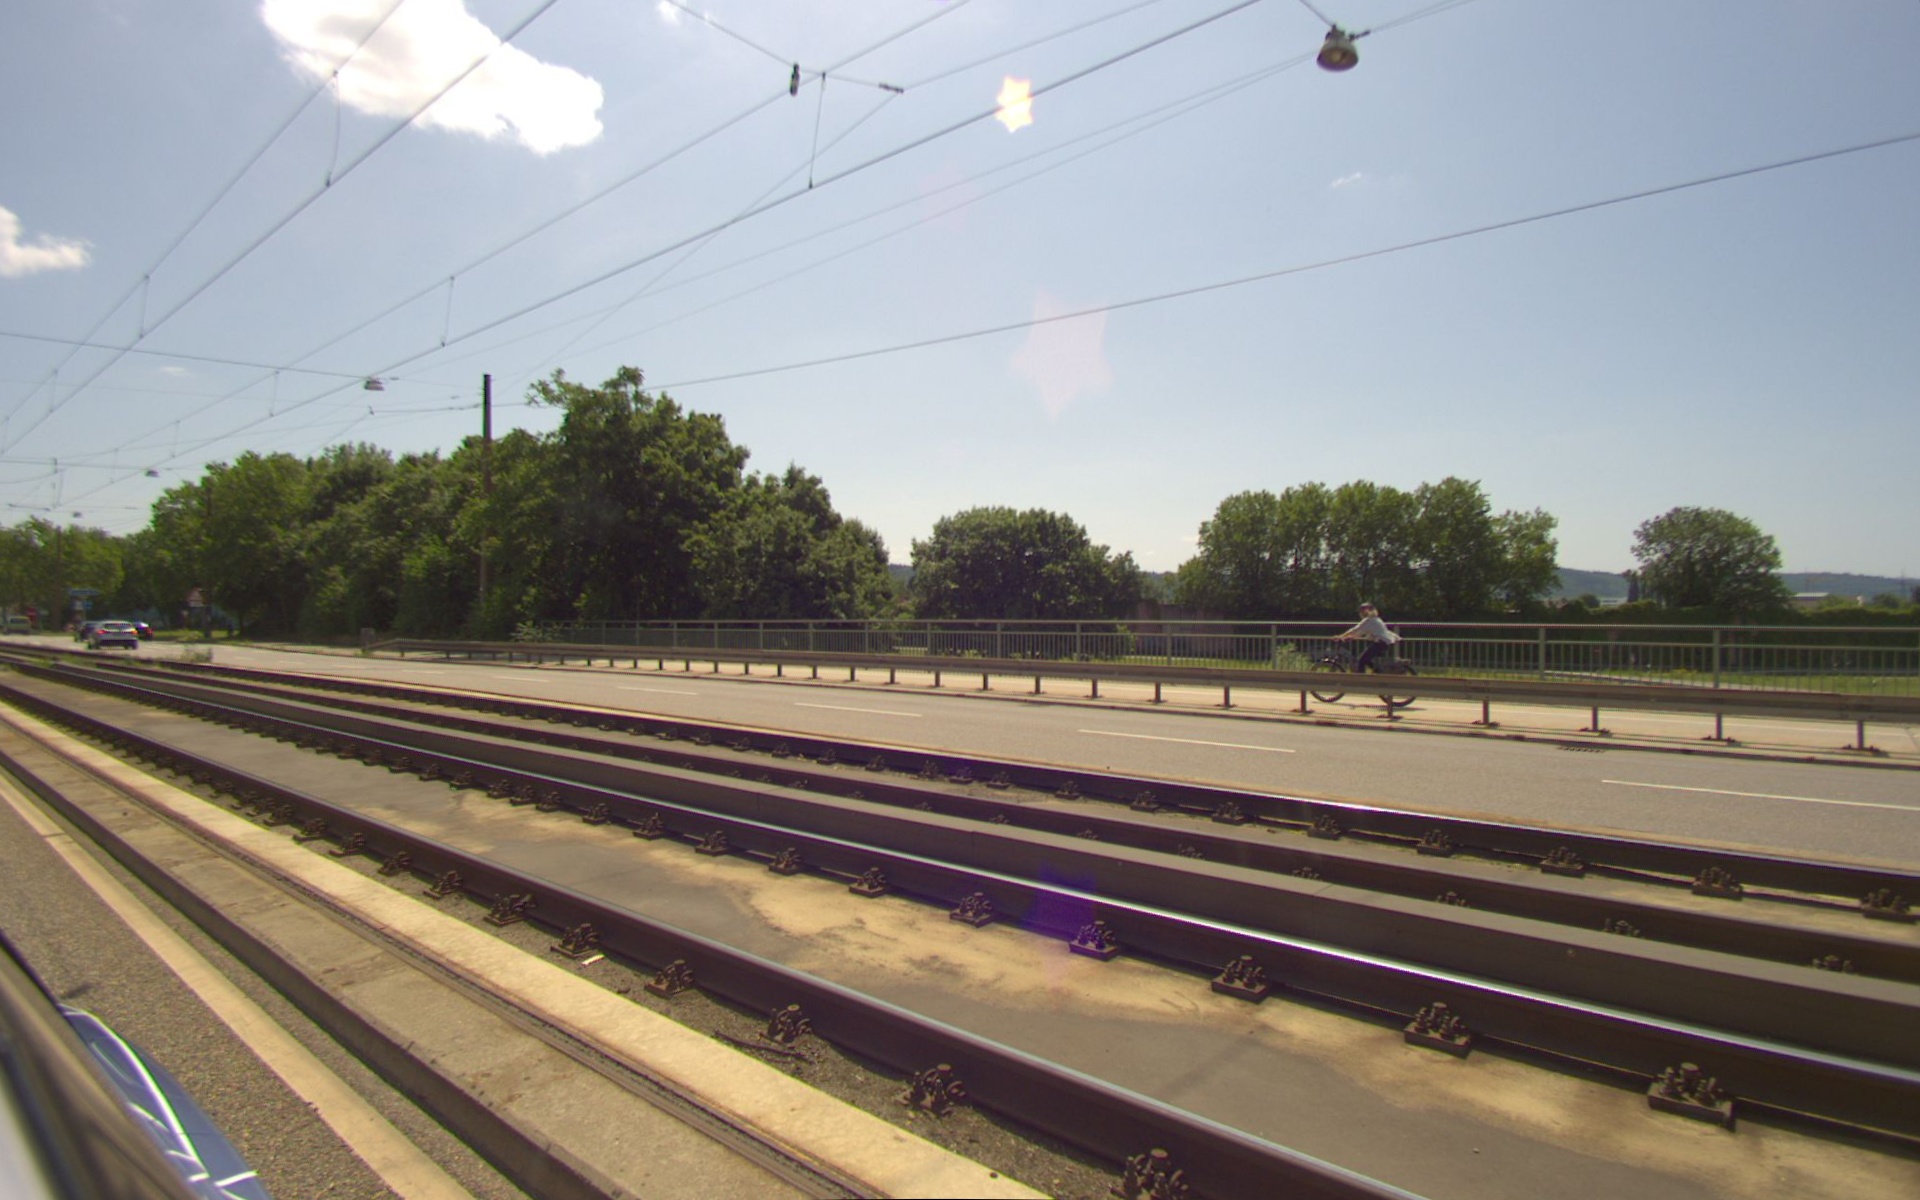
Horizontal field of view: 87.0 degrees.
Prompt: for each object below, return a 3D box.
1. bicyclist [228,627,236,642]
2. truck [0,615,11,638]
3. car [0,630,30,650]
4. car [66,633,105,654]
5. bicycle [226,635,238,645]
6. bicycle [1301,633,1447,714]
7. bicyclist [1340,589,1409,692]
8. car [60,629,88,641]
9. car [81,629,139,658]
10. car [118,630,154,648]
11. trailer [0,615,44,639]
[{"bbox_3d":[-68.301,3.200,94.969,0.562,1.378,0.632,-1,1,-43],"label":"bicyclist"},{"bbox_3d":[-159.296,4.425,165.784,6.721,3.730,3.390,-1,-2,25],"label":"truck"},{"bbox_3d":[-95.662,3.994,102.324,5.177,1.940,1.792,-1,-2,42],"label":"car"},{"bbox_3d":[-62.156,3.055,71.914,3.936,1.411,1.558,-1,-2,41],"label":"car"},{"bbox_3d":[-68.352,3.718,95.013,0.579,0.825,2.070,-2,1,-43],"label":"bicycle"},{"bbox_3d":[6.799,1.171,16.698,2.061,1.194,0.848,-1,0,41],"label":"bicycle"},{"bbox_3d":[6.825,0.640,16.661,0.837,1.634,0.755,-1,0,41],"label":"bicyclist"},{"bbox_3d":[-135.357,5.366,154.632,3.368,1.806,1.557,-1,-2,16],"label":"car"},{"bbox_3d":[-45.102,2.269,53.682,4.622,1.431,1.693,-1,-2,42],"label":"car"},{"bbox_3d":[-62.991,2.971,77.345,3.927,1.357,1.546,-1,-2,42],"label":"car"},{"bbox_3d":[-152.276,4.317,162.412,12.040,3.683,3.360,-1,-2,25],"label":"trailer"}]
